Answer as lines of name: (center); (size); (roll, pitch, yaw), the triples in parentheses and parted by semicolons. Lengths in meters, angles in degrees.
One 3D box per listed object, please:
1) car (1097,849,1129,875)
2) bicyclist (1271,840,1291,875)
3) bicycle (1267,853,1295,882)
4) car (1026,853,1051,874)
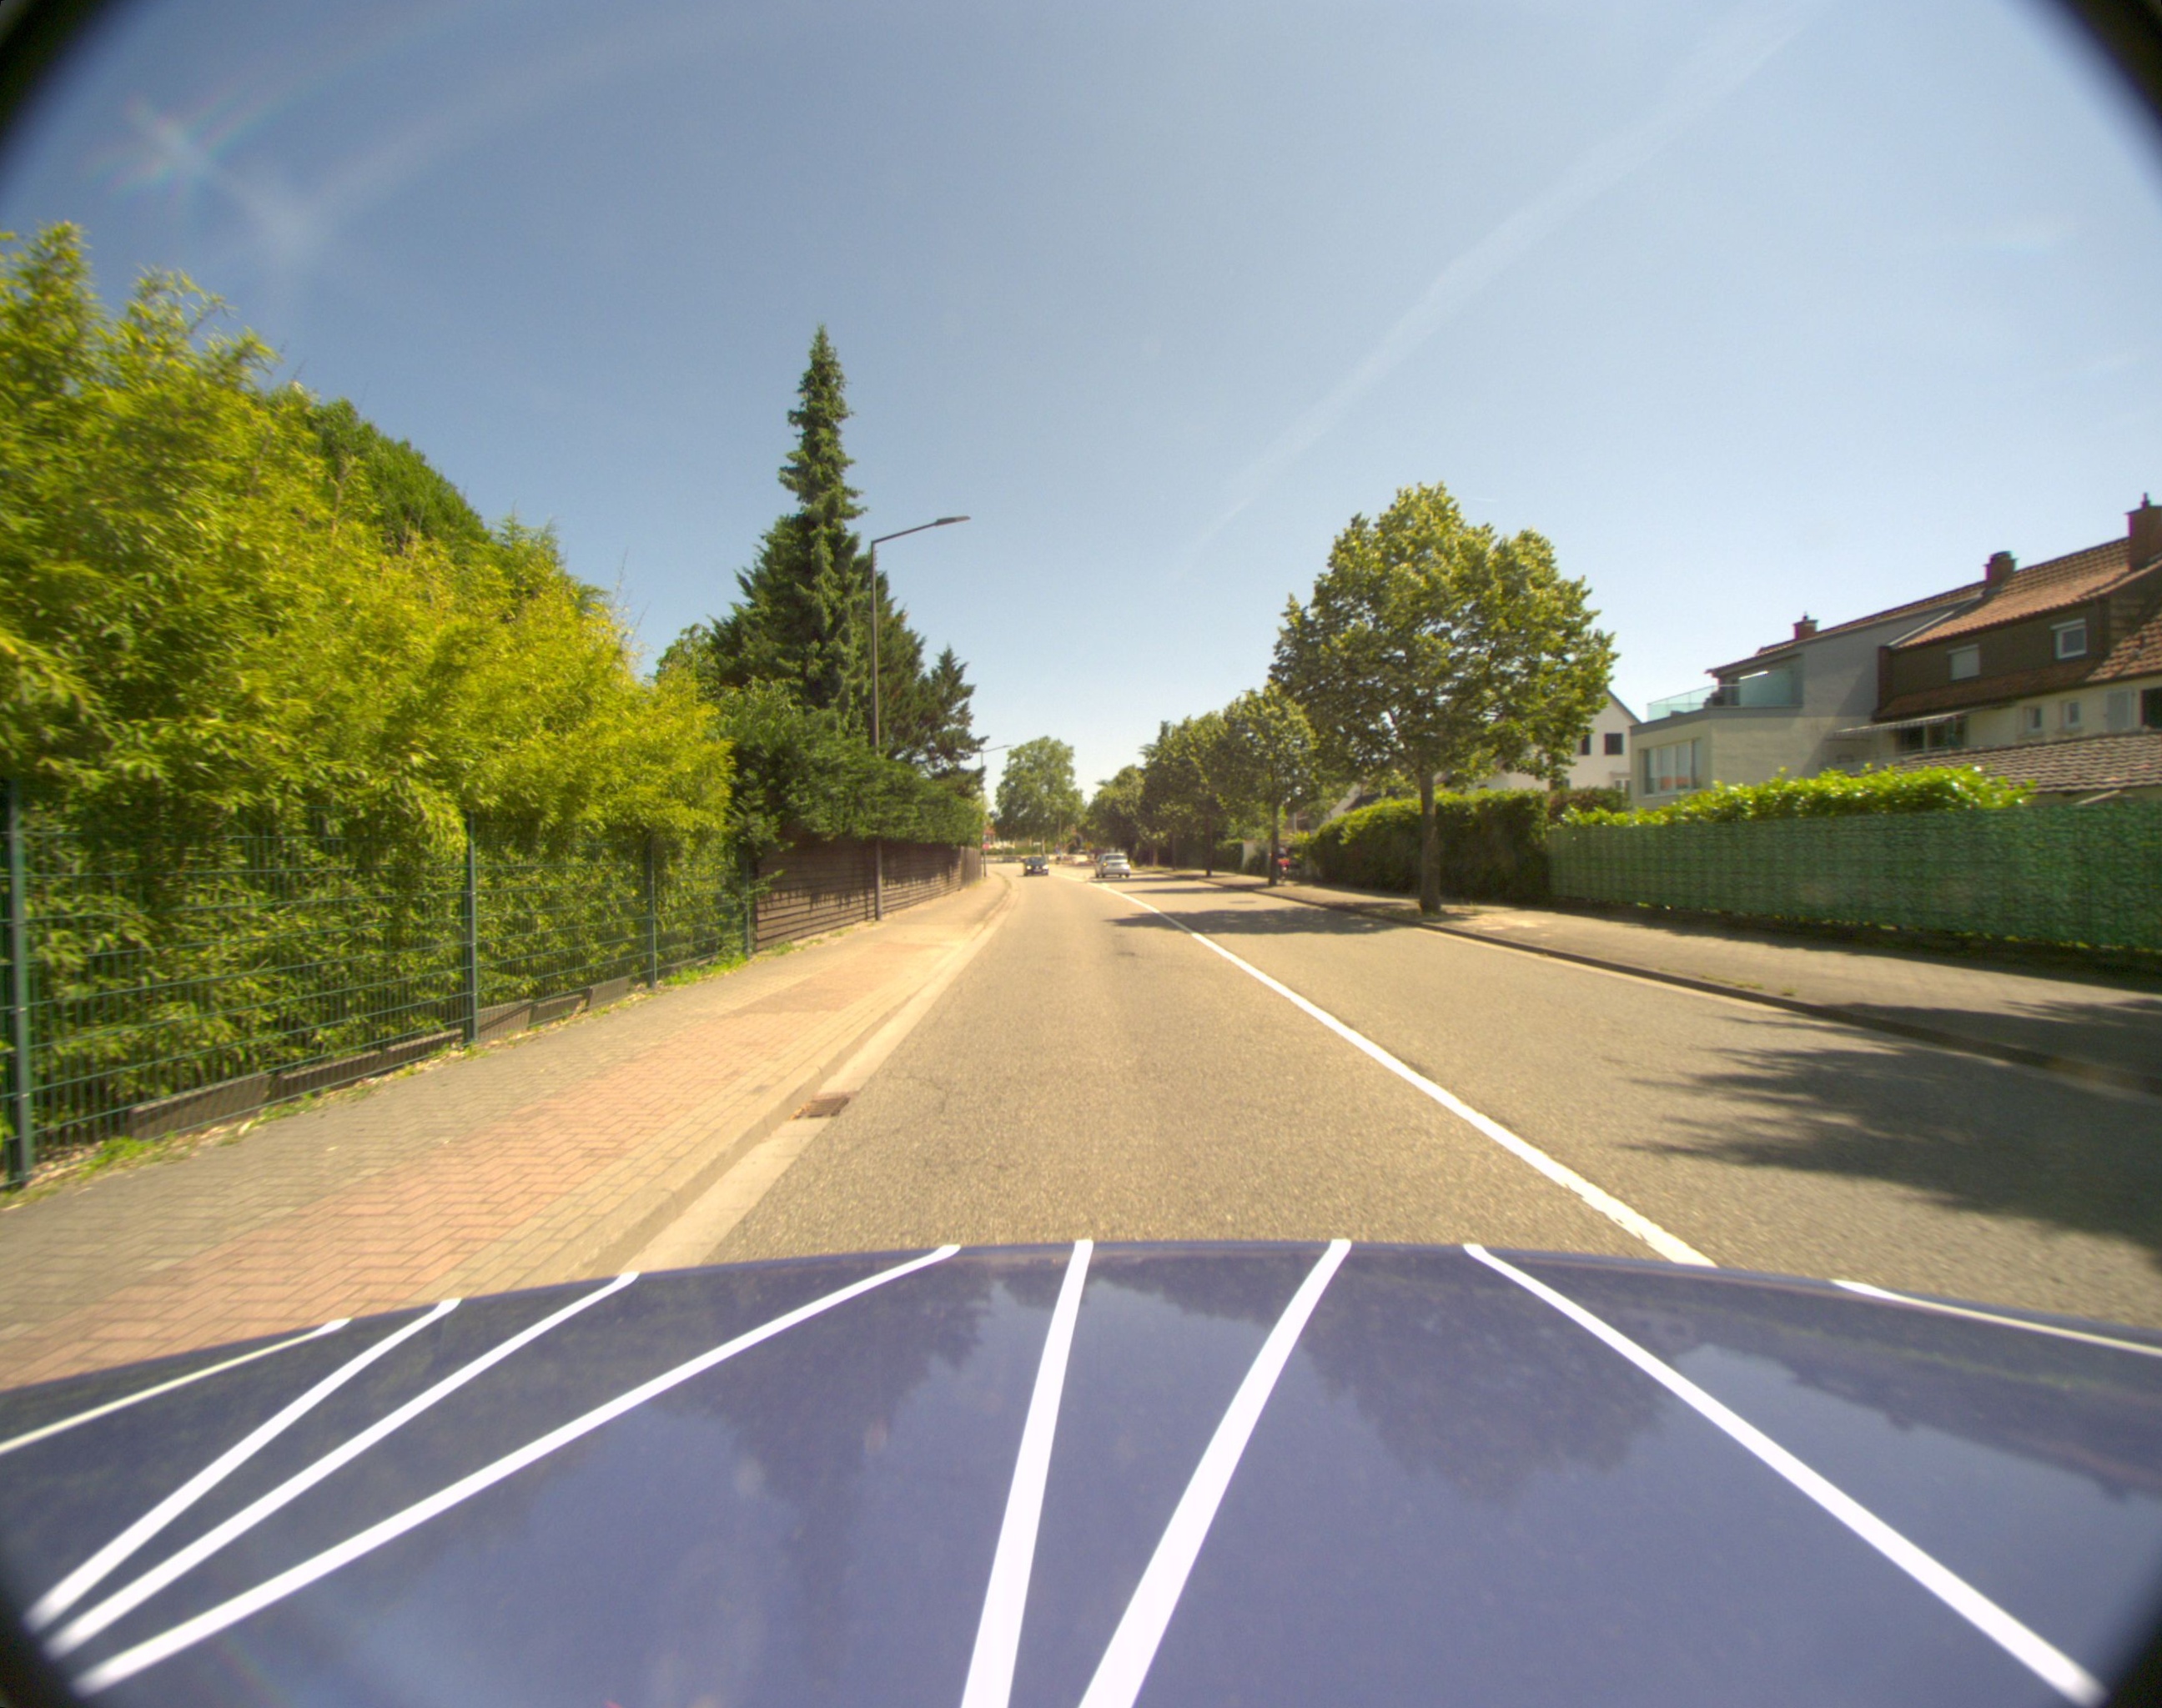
car: (1.898, 0.475, 46.245); (1.616, 1.474, 3.706); (-1, 0, -3)
bicyclist: (8.171, 0.137, 31.108); (0.630, 1.400, 0.676); (0, 1, -2)
bicycle: (8.175, 0.532, 31.112); (0.634, 1.173, 1.815); (0, 0, -2)
car: (-3.217, 0.687, 56.352); (1.608, 1.436, 3.906); (-2, 1, -6)
